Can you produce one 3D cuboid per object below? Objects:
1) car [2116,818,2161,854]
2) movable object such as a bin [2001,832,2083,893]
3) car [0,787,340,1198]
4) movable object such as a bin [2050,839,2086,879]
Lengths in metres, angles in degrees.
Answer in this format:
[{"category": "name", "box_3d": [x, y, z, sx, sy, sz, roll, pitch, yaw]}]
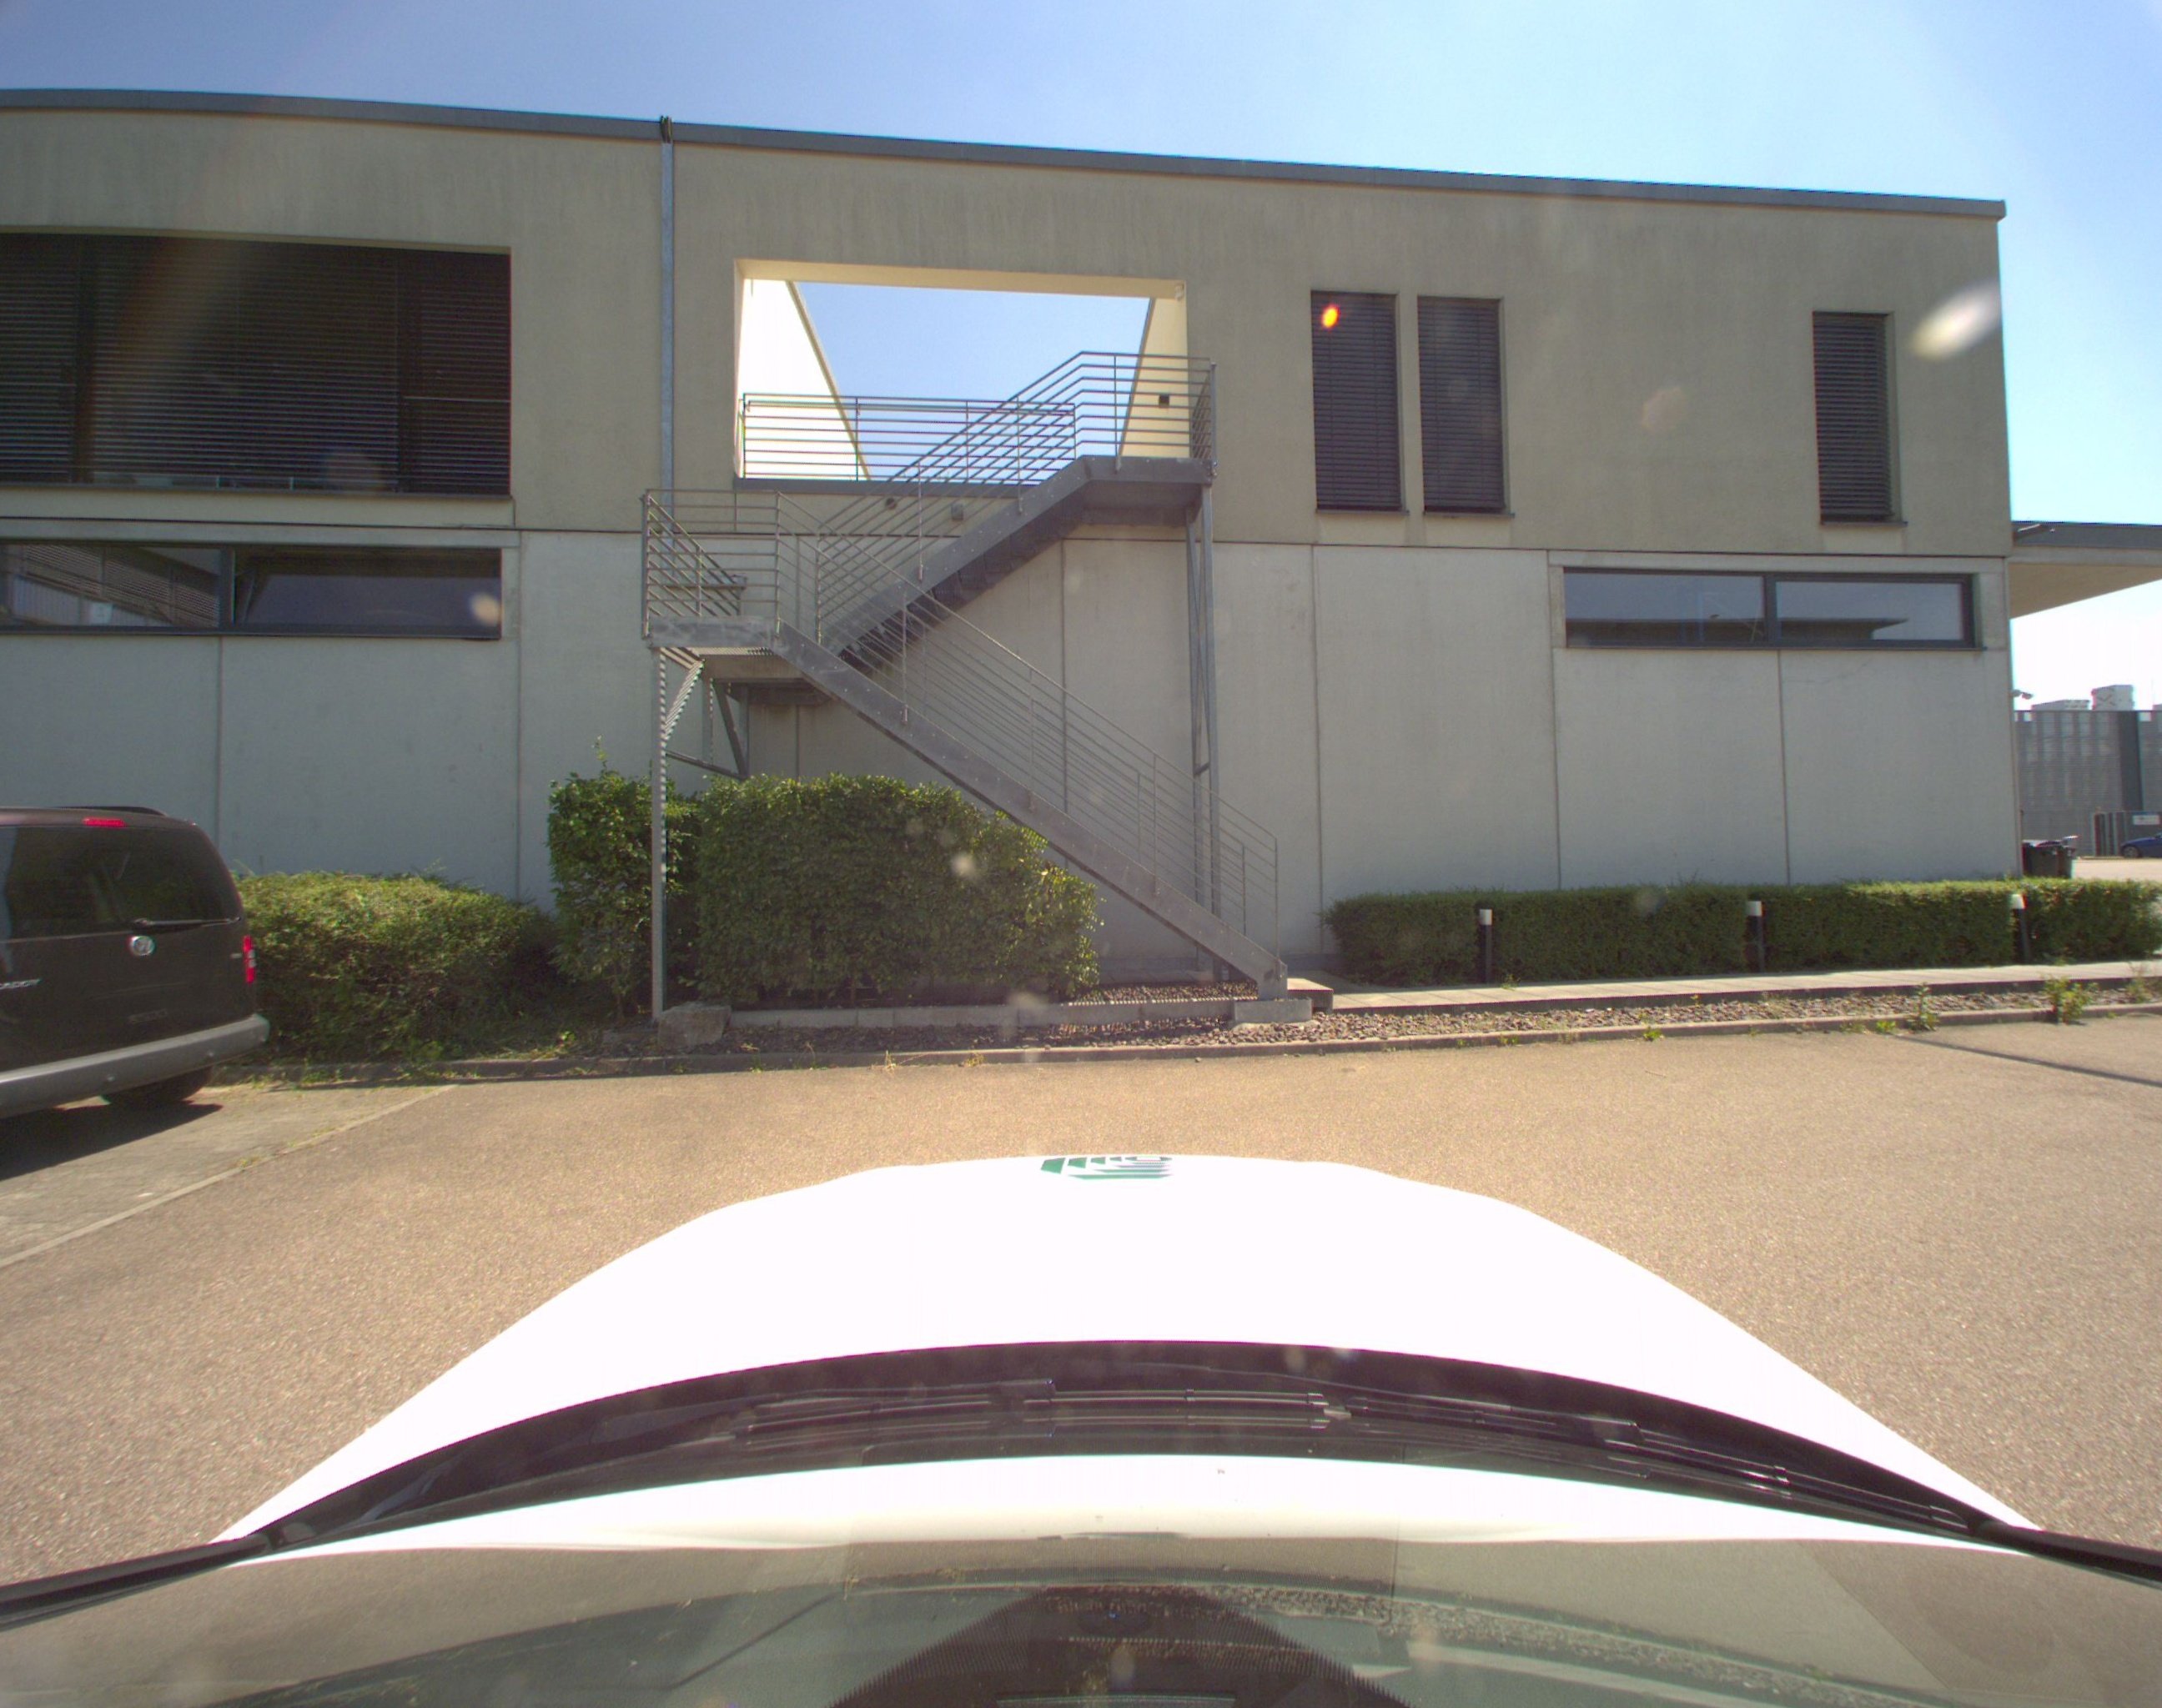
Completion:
[{"category": "car", "box_3d": [46.010, -0.772, 33.323, 1.981, 1.491, 4.527, -2, 0, 10]}, {"category": "movable object such as a bin", "box_3d": [22.035, 0.192, 18.693, 0.878, 1.345, 0.813, -2, -1, 1]}, {"category": "car", "box_3d": [-7.073, 0.669, 4.401, 4.208, 1.860, 1.865, -1, 0, -5]}, {"category": "movable object such as a bin", "box_3d": [26.112, 0.127, 21.546, 0.427, 1.036, 0.572, -1, -1, -38]}]
